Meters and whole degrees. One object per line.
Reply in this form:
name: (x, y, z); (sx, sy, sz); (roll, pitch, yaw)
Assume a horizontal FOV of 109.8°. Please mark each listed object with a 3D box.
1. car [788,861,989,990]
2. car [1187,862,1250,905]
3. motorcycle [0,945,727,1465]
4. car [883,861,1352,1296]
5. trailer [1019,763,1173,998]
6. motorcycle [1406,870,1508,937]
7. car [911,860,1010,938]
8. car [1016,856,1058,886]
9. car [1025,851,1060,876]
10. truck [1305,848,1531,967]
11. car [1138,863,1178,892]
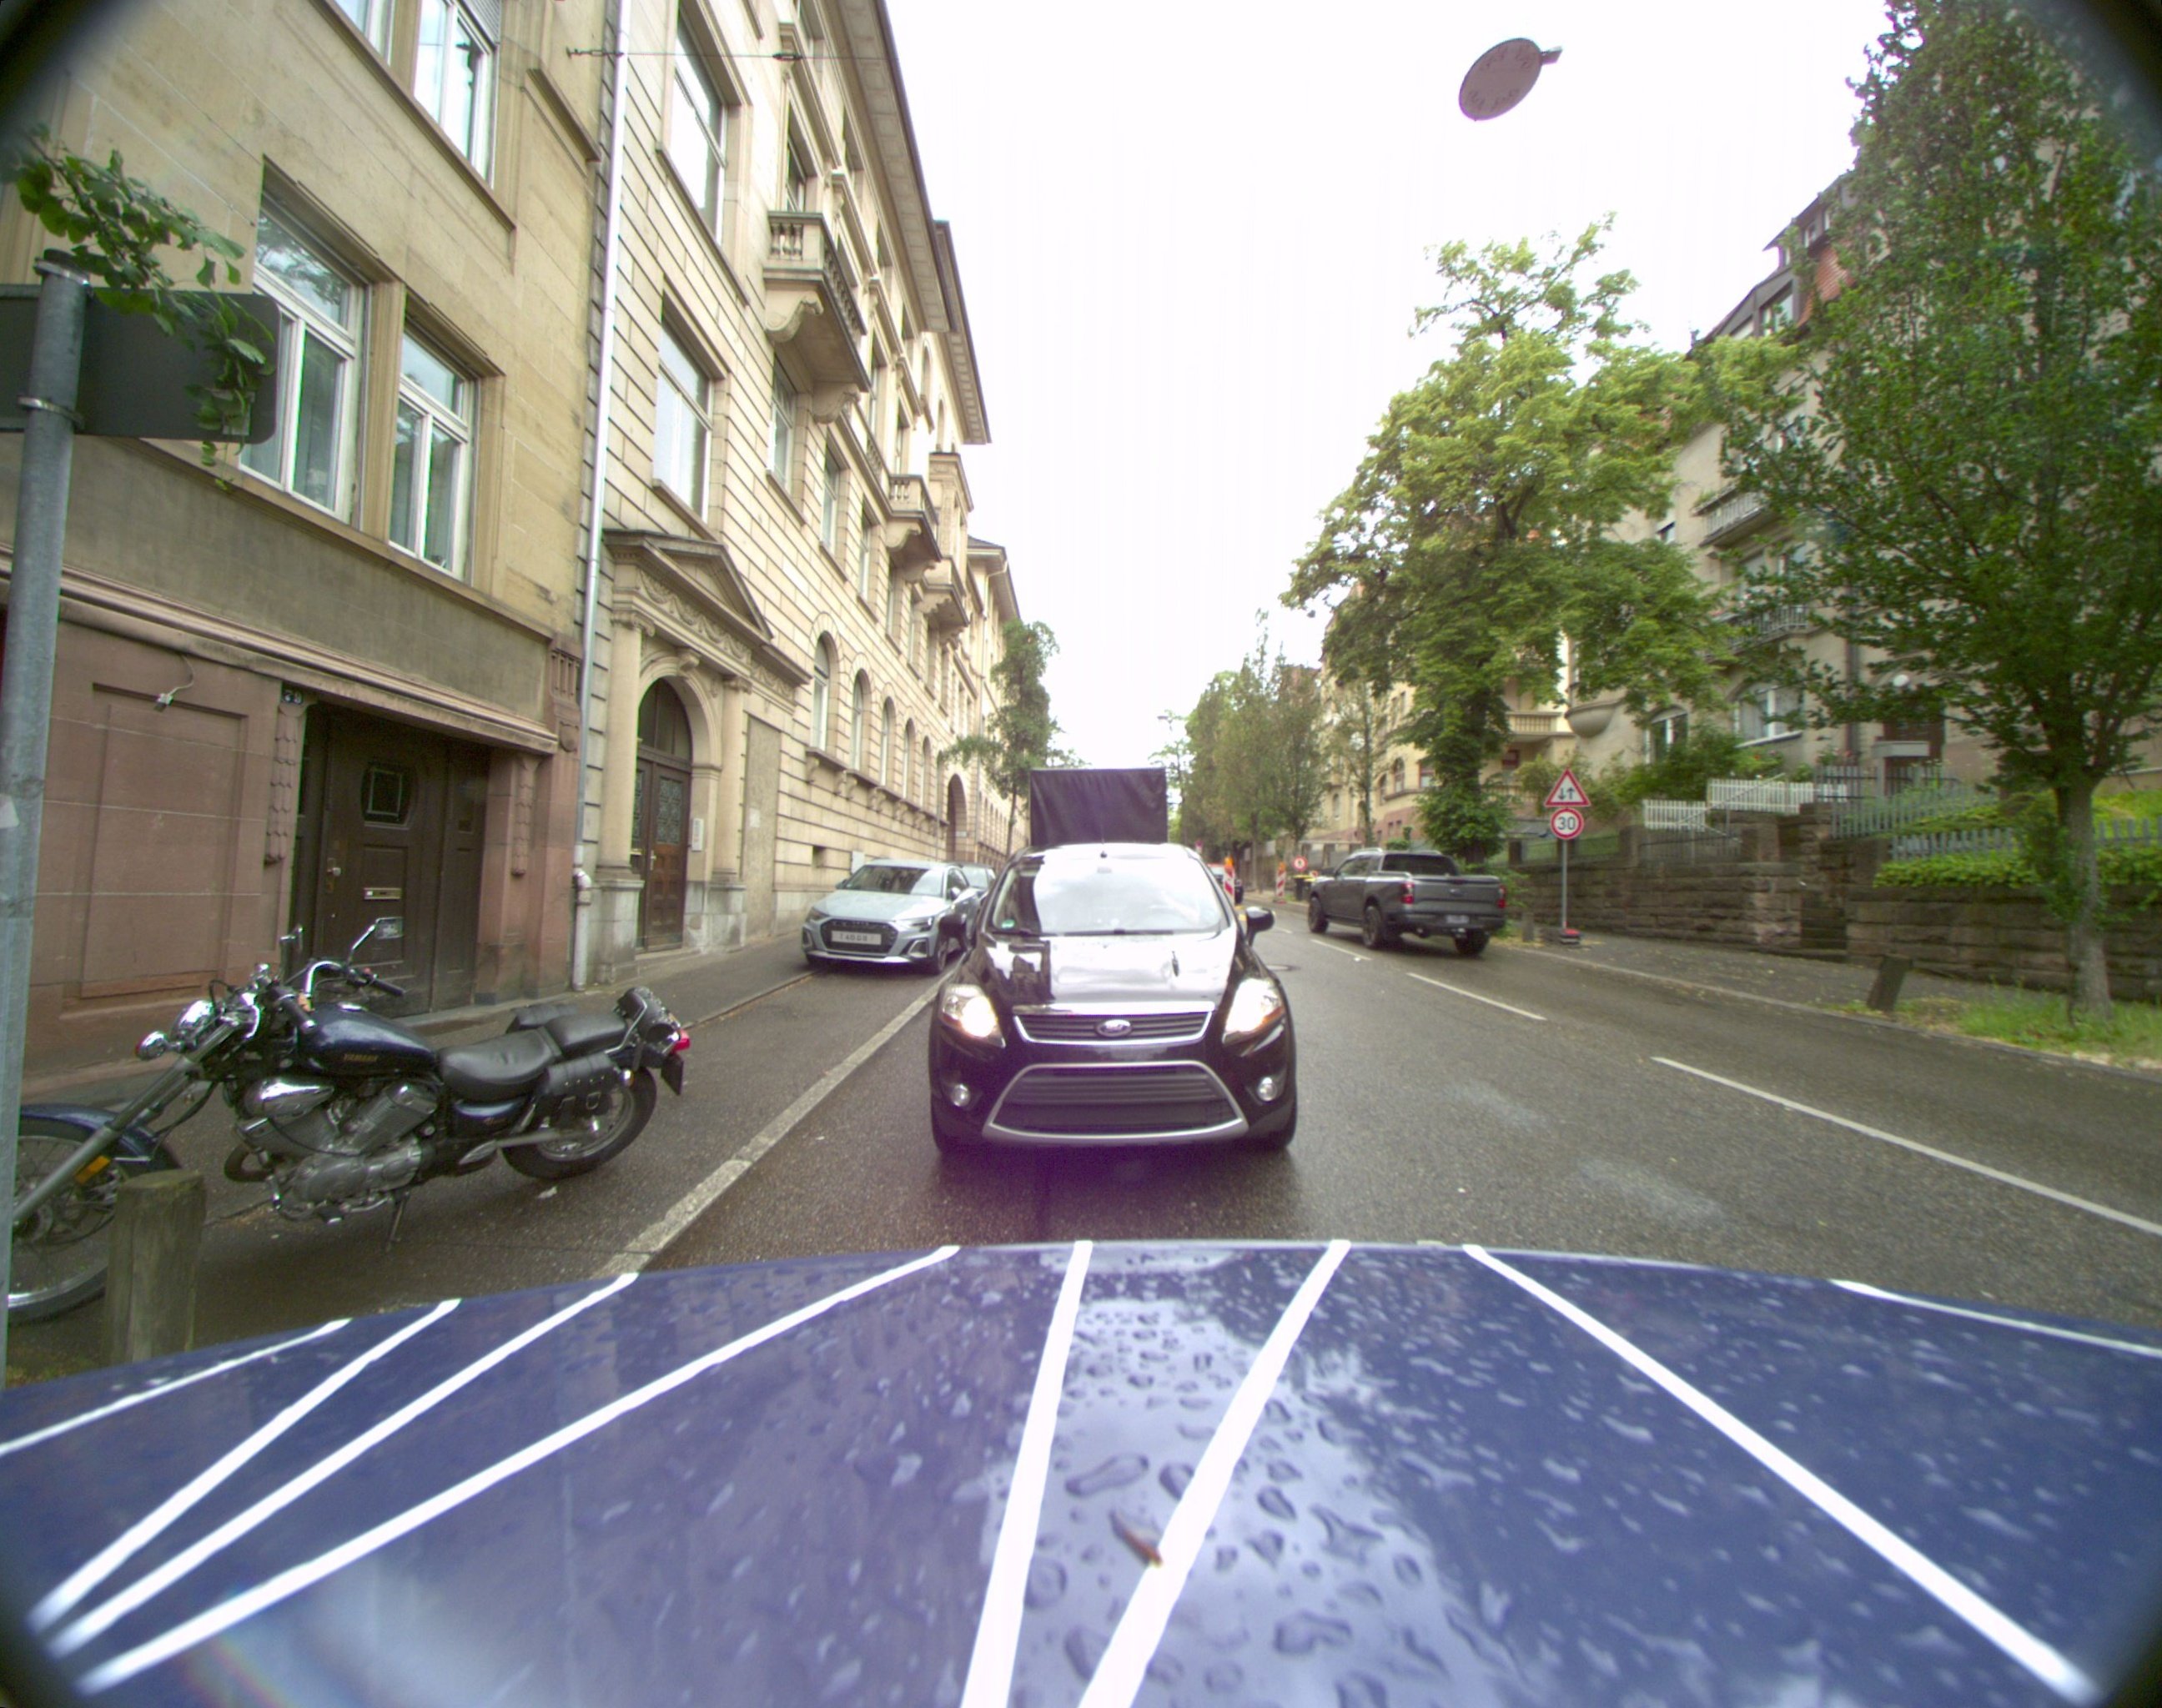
car: (-2.594, 0.887, 11.272); (1.794, 1.444, 4.039); (3, 0, 1)
car: (5.258, 1.098, 29.466); (1.670, 1.463, 3.656); (3, 0, -1)
motorcycle: (-2.558, 1.015, 2.704); (0.523, 1.236, 2.282); (3, -1, 39)
car: (0.197, 0.896, 5.223); (1.823, 1.662, 4.522); (0, 0, 1)
trailer: (0.179, 0.297, 11.324); (1.783, 2.744, 4.816); (0, 1, 0)
motorcycle: (8.895, 1.117, 18.192); (0.802, 1.406, 3.061); (-2, 0, -2)
car: (-2.511, 0.901, 16.529); (1.495, 1.440, 3.181); (3, 0, 1)
car: (-2.395, 0.900, 42.454); (1.910, 1.502, 4.318); (3, 0, 1)
car: (-2.542, 0.621, 50.763); (1.910, 1.502, 4.318); (3, 0, 1)
truck: (6.138, 0.871, 14.692); (2.075, 1.825, 5.154); (2, 0, 1)
car: (4.277, 1.273, 42.702); (1.910, 1.502, 4.318); (1, 0, 1)
